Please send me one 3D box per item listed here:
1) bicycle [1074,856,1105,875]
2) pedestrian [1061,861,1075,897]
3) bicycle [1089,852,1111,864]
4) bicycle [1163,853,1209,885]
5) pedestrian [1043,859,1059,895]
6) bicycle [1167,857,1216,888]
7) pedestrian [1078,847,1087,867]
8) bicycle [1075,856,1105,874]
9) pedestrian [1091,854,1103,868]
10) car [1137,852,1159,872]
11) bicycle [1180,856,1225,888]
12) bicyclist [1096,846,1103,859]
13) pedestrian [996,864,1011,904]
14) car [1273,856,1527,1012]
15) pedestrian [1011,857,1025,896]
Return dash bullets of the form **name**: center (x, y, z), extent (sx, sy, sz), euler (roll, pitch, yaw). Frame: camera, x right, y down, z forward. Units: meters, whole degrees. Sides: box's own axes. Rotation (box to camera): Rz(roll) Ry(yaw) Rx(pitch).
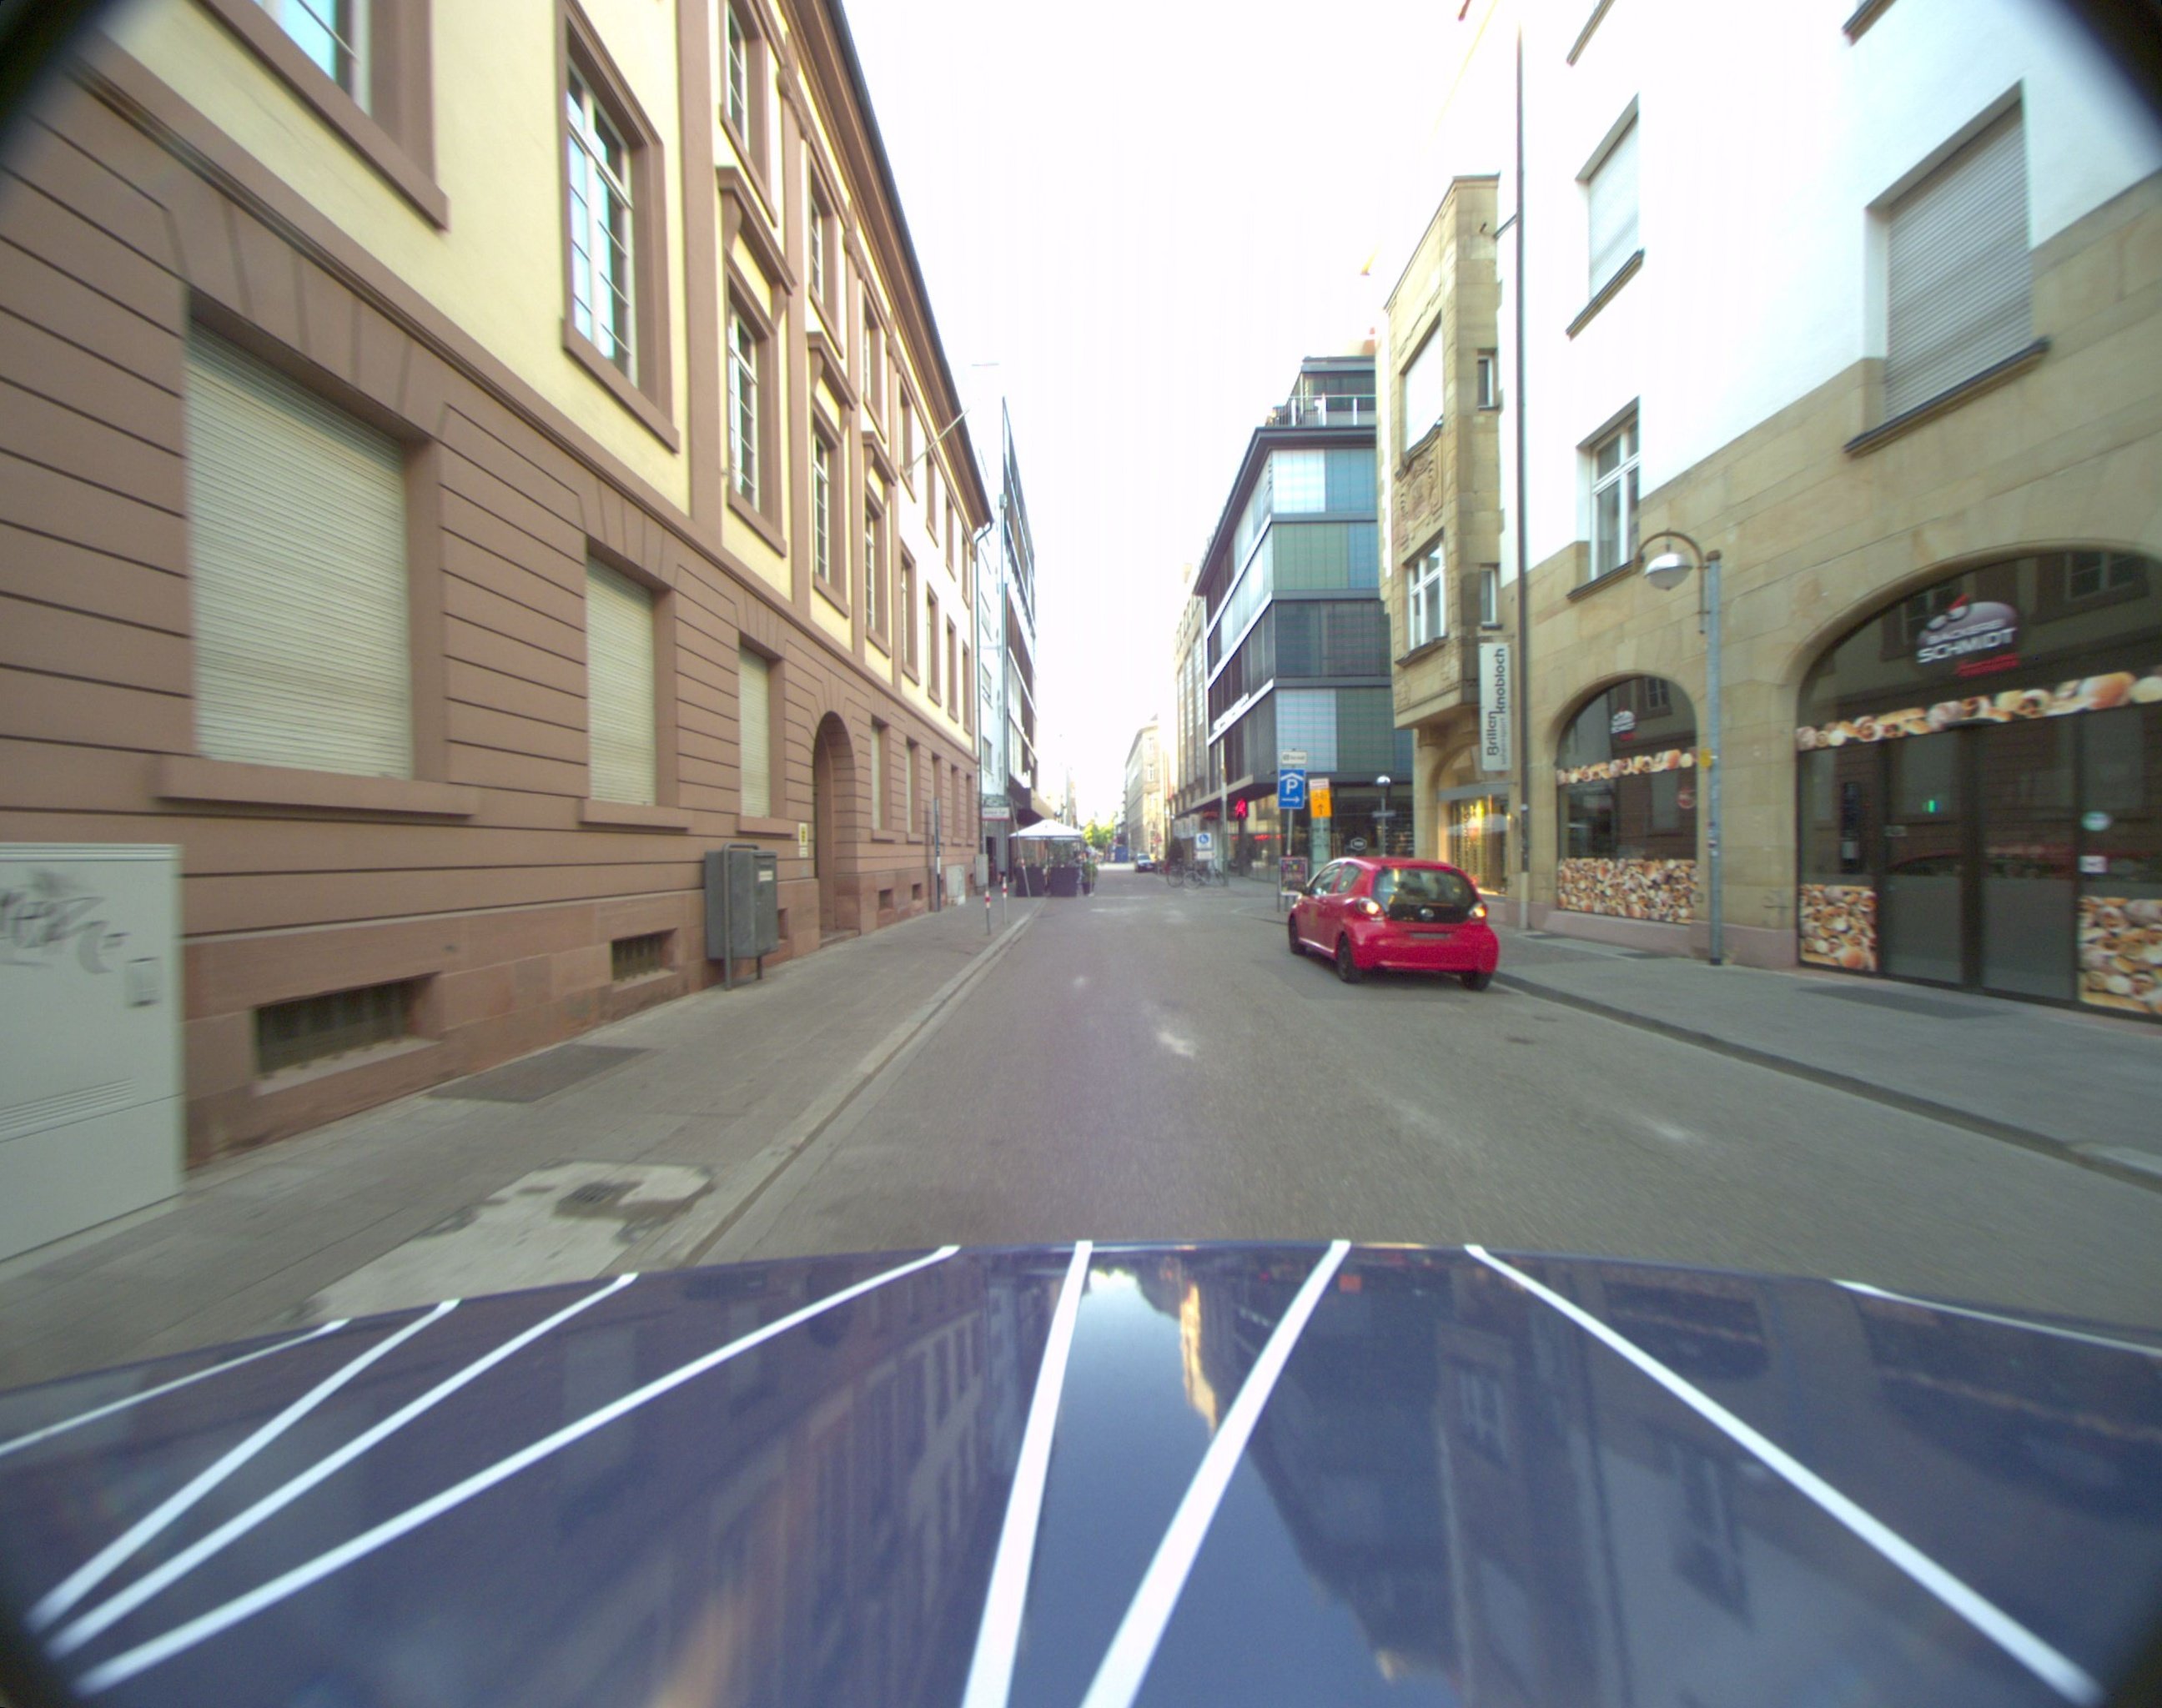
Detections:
- **bicycle**: center (0.545, 0.772, 50.803), extent (2.038, 1.161, 0.665), euler (2, 1, 0)
- **pedestrian**: center (-0.432, 0.831, 25.516), extent (0.400, 1.206, 0.383), euler (-1, 1, -9)
- **bicycle**: center (2.083, 0.450, 82.229), extent (2.341, 1.182, 0.517), euler (-2, 1, -15)
- **bicycle**: center (4.722, 0.665, 34.219), extent (1.902, 1.262, 0.538), euler (-5, 1, 1)
- **pedestrian**: center (-1.219, 0.928, 31.109), extent (0.575, 1.412, 0.868), euler (-1, 1, 2)
- **bicycle**: center (4.573, 0.767, 31.608), extent (1.902, 1.174, 0.517), euler (-3, -1, 0)
- **pedestrian**: center (0.190, 0.308, 77.955), extent (0.804, 2.002, 0.878), euler (-2, 1, -6)
- **bicycle**: center (0.609, 0.752, 52.265), extent (2.038, 1.161, 0.619), euler (2, 1, 0)
- **pedestrian**: center (1.783, 0.773, 84.369), extent (0.917, 1.563, 0.995), euler (0, 1, 45)
- **car**: center (5.178, 0.602, 58.487), extent (1.602, 1.415, 3.605), euler (-1, 0, 5)
- **bicycle**: center (4.792, 0.706, 30.010), extent (1.669, 1.197, 0.509), euler (-3, 1, 0)
- **bicyclist**: center (2.047, -0.202, 82.218), extent (0.582, 1.393, 0.517), euler (-2, 1, -15)
- **pedestrian**: center (-3.522, 1.364, 34.502), extent (0.640, 1.762, 0.602), euler (-1, 1, -4)
- **car**: center (3.788, 0.830, 9.819), extent (1.661, 1.461, 3.931), euler (3, 1, 2)
- **pedestrian**: center (-2.124, 0.763, 25.644), extent (0.363, 1.298, 0.494), euler (-1, 1, -13)
